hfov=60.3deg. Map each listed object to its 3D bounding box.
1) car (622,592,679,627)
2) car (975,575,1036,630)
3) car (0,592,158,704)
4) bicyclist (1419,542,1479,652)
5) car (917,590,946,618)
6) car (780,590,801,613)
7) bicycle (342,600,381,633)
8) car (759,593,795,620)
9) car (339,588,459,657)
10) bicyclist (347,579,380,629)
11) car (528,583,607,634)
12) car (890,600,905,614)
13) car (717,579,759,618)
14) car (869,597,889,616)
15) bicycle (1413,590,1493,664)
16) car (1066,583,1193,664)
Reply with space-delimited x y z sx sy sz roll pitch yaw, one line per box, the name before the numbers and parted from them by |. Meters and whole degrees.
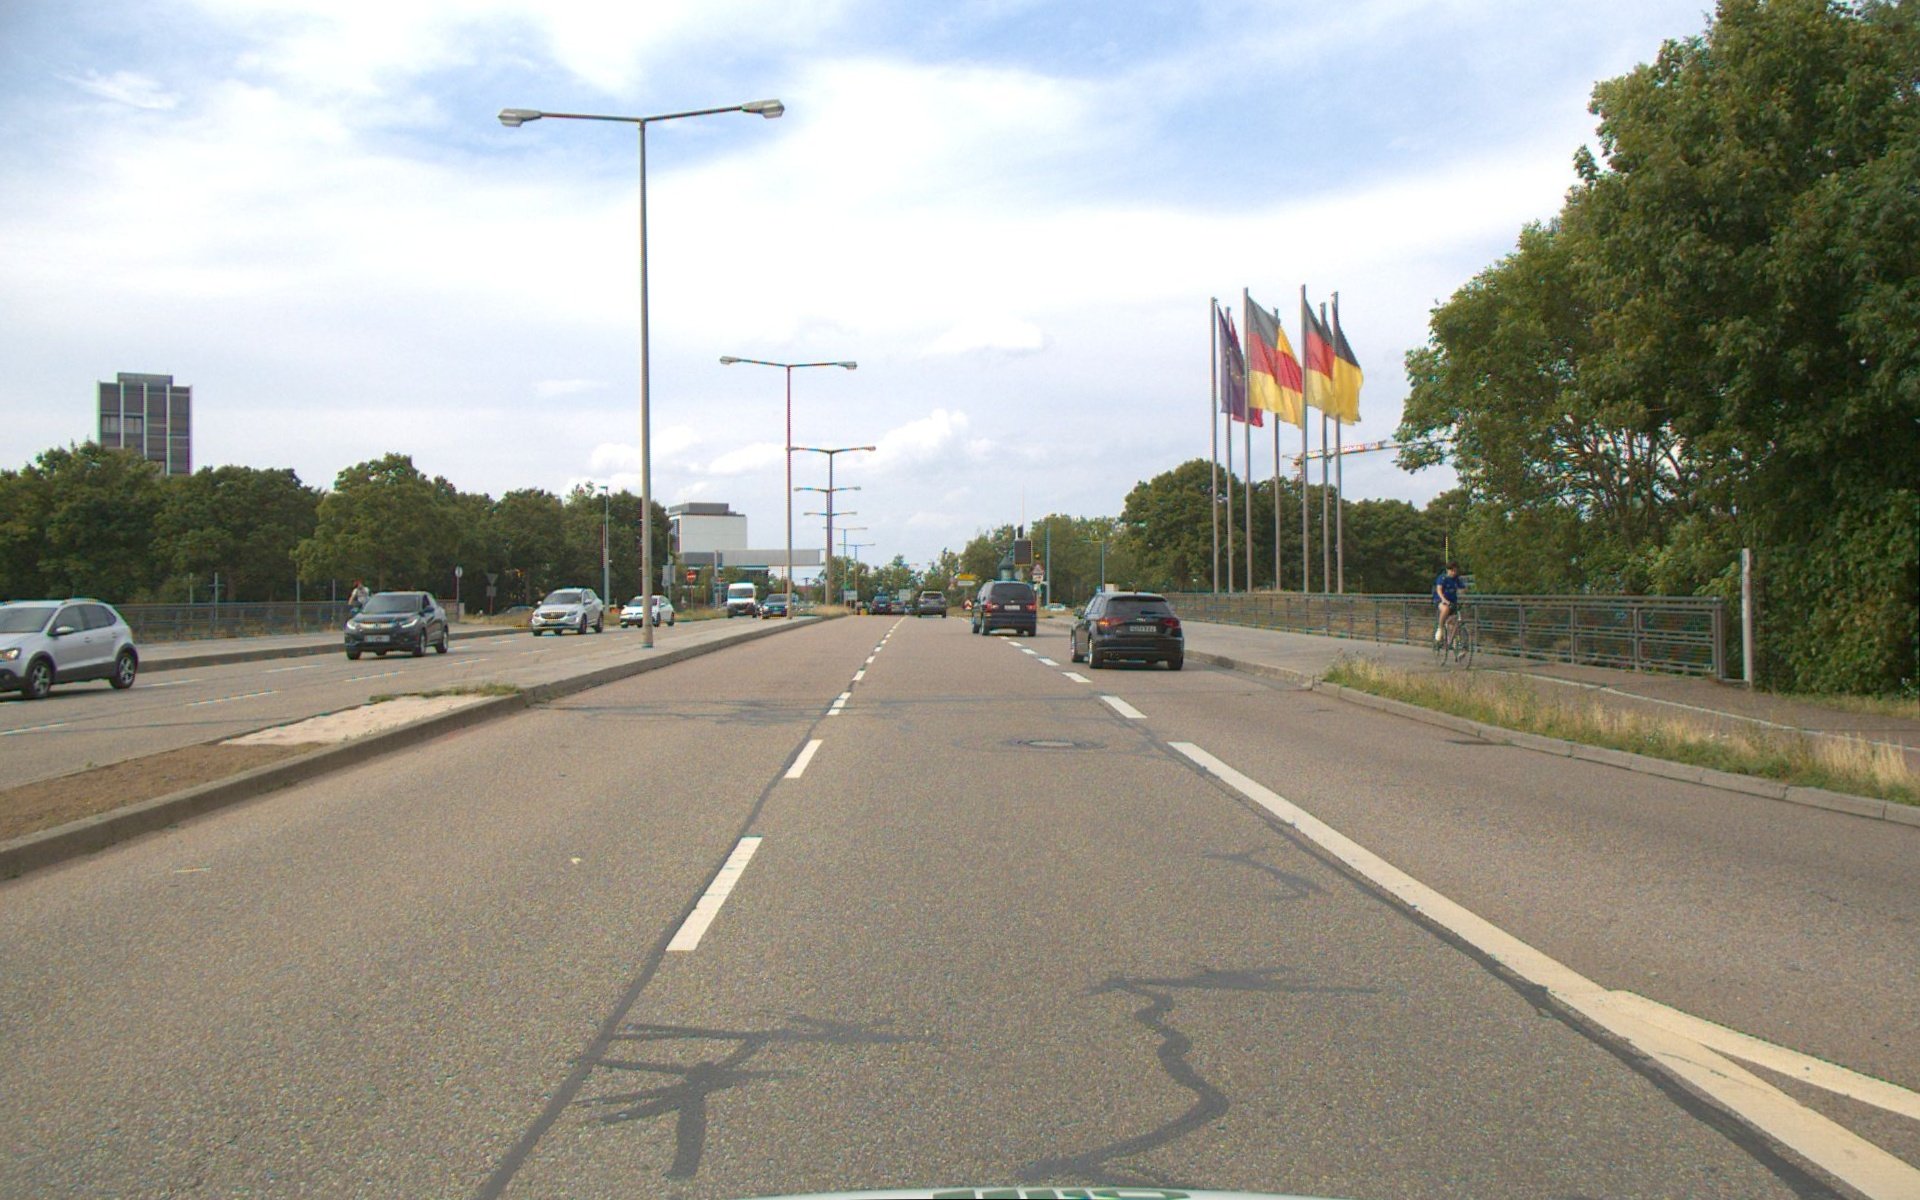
car | -14.523 0.412 77.734 1.702 1.506 4.472 -2 0 1
car | 1.435 0.089 53.627 1.696 1.682 4.112 1 0 -3
car | -14.324 0.706 25.724 1.615 1.542 4.017 -2 1 1
bicyclist | 7.700 -0.056 26.059 0.651 1.688 0.805 1 1 -2
car | -1.804 0.247 103.040 1.696 1.682 4.112 1 0 -3
car | -15.025 0.113 146.844 1.508 1.903 3.570 -2 0 -1
bicycle | -20.082 0.550 55.520 0.692 1.068 2.058 0 0 -4
car | -10.879 0.373 98.323 1.703 1.506 4.774 -2 -1 -2
car | -13.746 0.524 40.776 1.705 1.542 4.312 -2 0 -4
bicyclist | -20.069 0.134 55.620 0.779 1.655 0.975 1 0 -4
car | -14.584 0.304 61.722 1.825 1.755 4.769 -2 0 -1
car | -6.988 0.789 184.468 1.696 1.553 4.113 1 0 -3
car | -15.782 -0.137 117.990 2.011 2.689 6.400 -2 0 0
car | -7.157 0.571 146.842 1.696 1.682 4.113 1 0 -3
bicycle | 7.688 0.399 25.872 0.565 1.039 1.975 -3 2 -2
car | 3.150 0.429 31.491 1.697 1.419 4.111 0 0 -5
